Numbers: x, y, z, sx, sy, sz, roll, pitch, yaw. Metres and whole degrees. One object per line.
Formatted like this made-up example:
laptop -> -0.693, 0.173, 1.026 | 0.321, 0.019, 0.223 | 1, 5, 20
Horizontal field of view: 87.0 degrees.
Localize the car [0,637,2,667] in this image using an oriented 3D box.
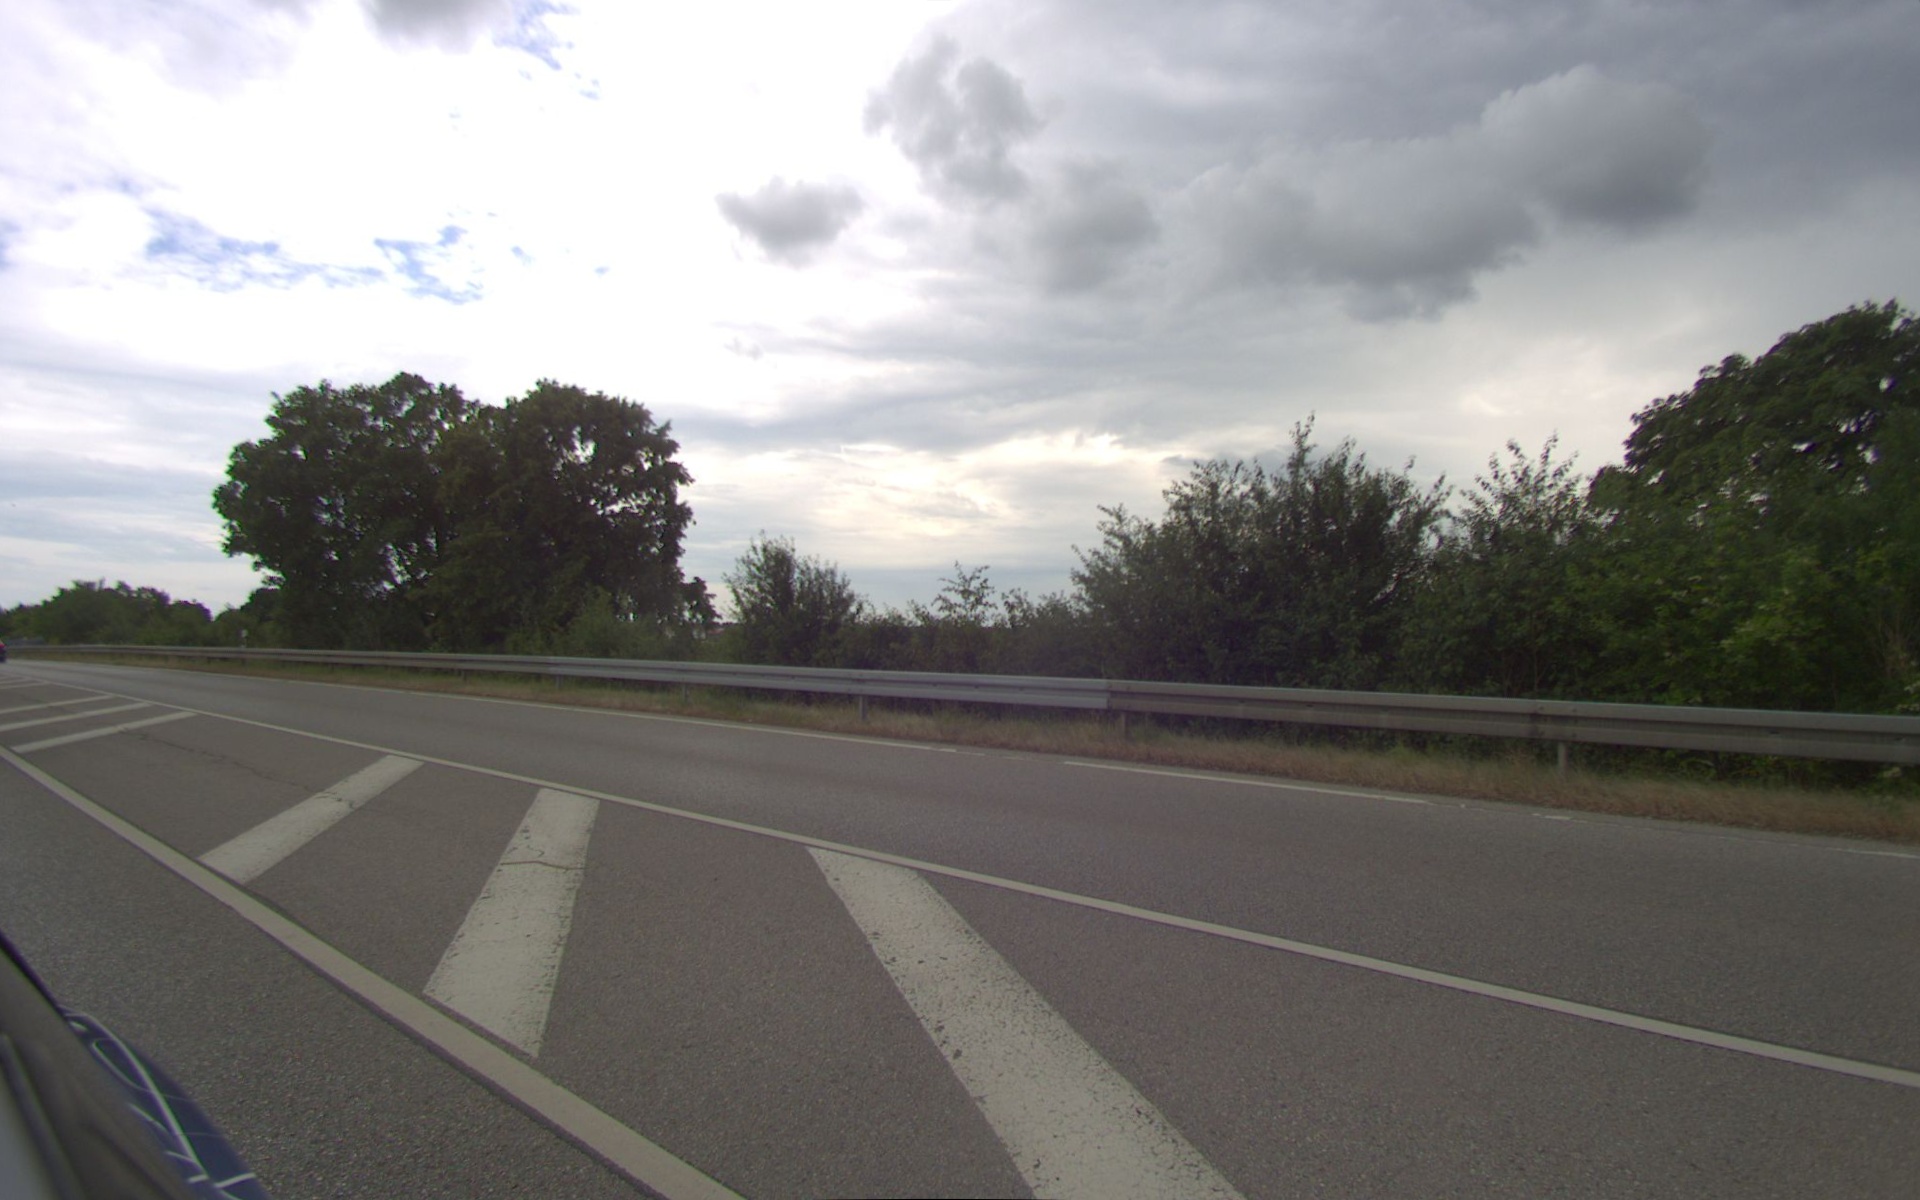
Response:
car -> -48.536, 2.557, 49.772 | 4.255, 1.440, 1.654 | -2, -1, 40
